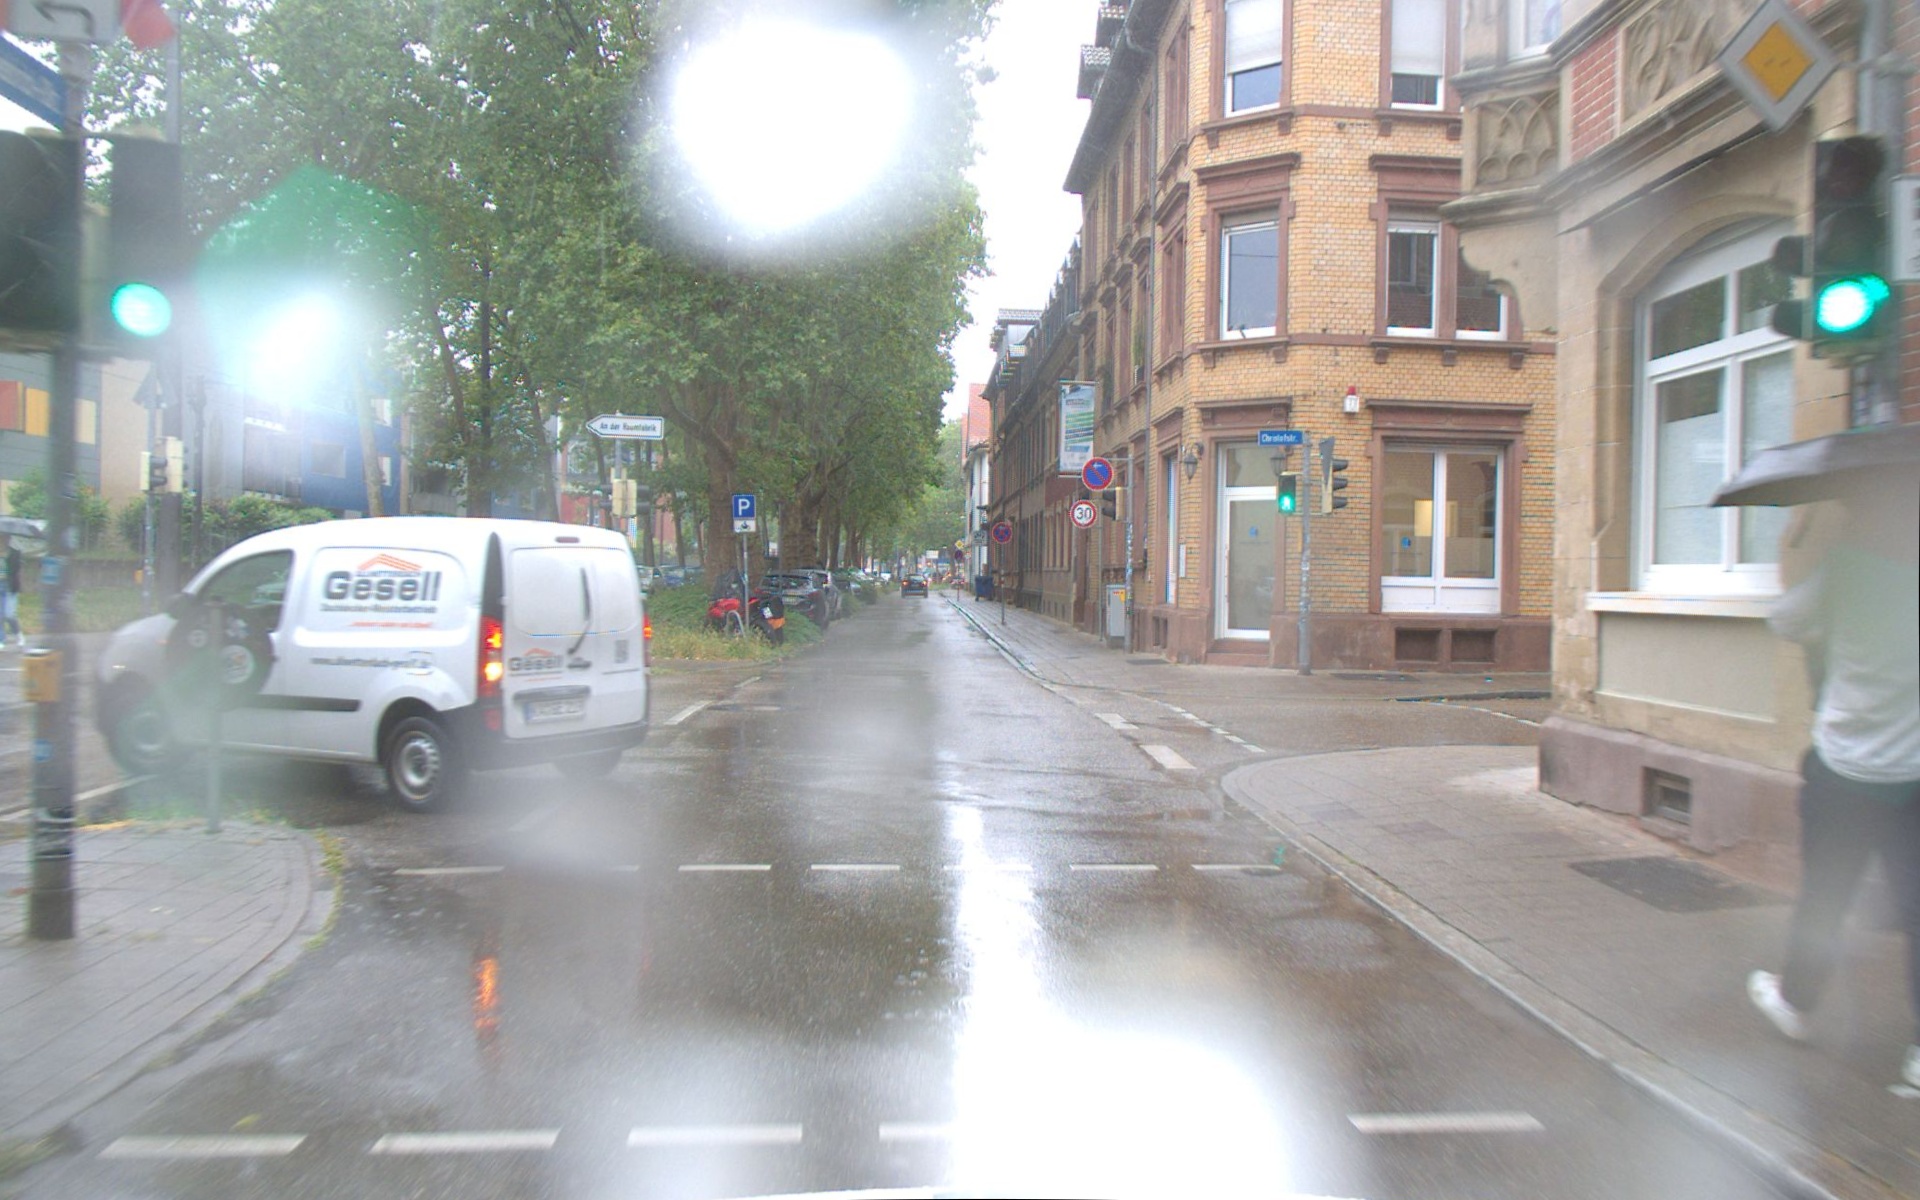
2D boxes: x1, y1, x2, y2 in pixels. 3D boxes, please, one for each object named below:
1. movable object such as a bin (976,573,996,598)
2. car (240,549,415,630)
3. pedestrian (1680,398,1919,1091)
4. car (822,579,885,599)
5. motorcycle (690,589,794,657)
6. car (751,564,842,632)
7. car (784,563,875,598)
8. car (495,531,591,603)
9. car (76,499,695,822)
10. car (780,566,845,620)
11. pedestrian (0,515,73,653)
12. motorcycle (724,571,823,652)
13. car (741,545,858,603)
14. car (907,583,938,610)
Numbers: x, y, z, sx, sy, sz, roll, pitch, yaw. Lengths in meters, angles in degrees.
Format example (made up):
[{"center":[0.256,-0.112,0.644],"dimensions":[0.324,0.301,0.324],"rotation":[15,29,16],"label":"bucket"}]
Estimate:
[{"center":[1.394,-0.794,89.107],"dimensions":[1.000,1.324,1.366],"rotation":[-2,1,-2],"label":"movable object such as a bin"},{"center":[-12.779,-0.226,33.711],"dimensions":[1.865,1.489,4.388],"rotation":[2,1,0],"label":"car"},{"center":[2.869,0.393,5.146],"dimensions":[0.769,1.947,0.929],"rotation":[-2,0,-2],"label":"pedestrian"},{"center":[-8.040,-0.834,124.859],"dimensions":[4.460,1.508,1.772],"rotation":[0,0,29],"label":"car"},{"center":[-4.289,0.438,32.504],"dimensions":[2.105,1.230,0.863],"rotation":[2,0,43],"label":"motorcycle"},{"center":[-4.023,-0.085,41.351],"dimensions":[1.858,1.511,4.620],"rotation":[3,1,-2],"label":"car"},{"center":[-6.312,-0.946,79.966],"dimensions":[3.976,1.564,1.832],"rotation":[3,1,29],"label":"car"},{"center":[-13.116,-1.033,52.376],"dimensions":[2.014,2.032,5.429],"rotation":[3,1,-5],"label":"car"},{"center":[-4.033,0.294,11.513],"dimensions":[3.978,1.882,1.935],"rotation":[2,1,30],"label":"car"},{"center":[-4.501,-0.243,50.970],"dimensions":[1.694,1.541,4.206],"rotation":[3,1,-2],"label":"car"},{"center":[-12.915,-0.225,22.612],"dimensions":[0.917,1.831,1.205],"rotation":[1,0,-2],"label":"pedestrian"},{"center":[-3.756,0.220,33.199],"dimensions":[2.072,1.526,0.767],"rotation":[2,0,42],"label":"motorcycle"},{"center":[-6.652,-1.096,68.505],"dimensions":[4.561,2.323,2.007],"rotation":[1,1,32],"label":"car"},{"center":[-2.476,-0.242,108.050],"dimensions":[1.953,1.668,3.999],"rotation":[2,0,-2],"label":"car"}]
